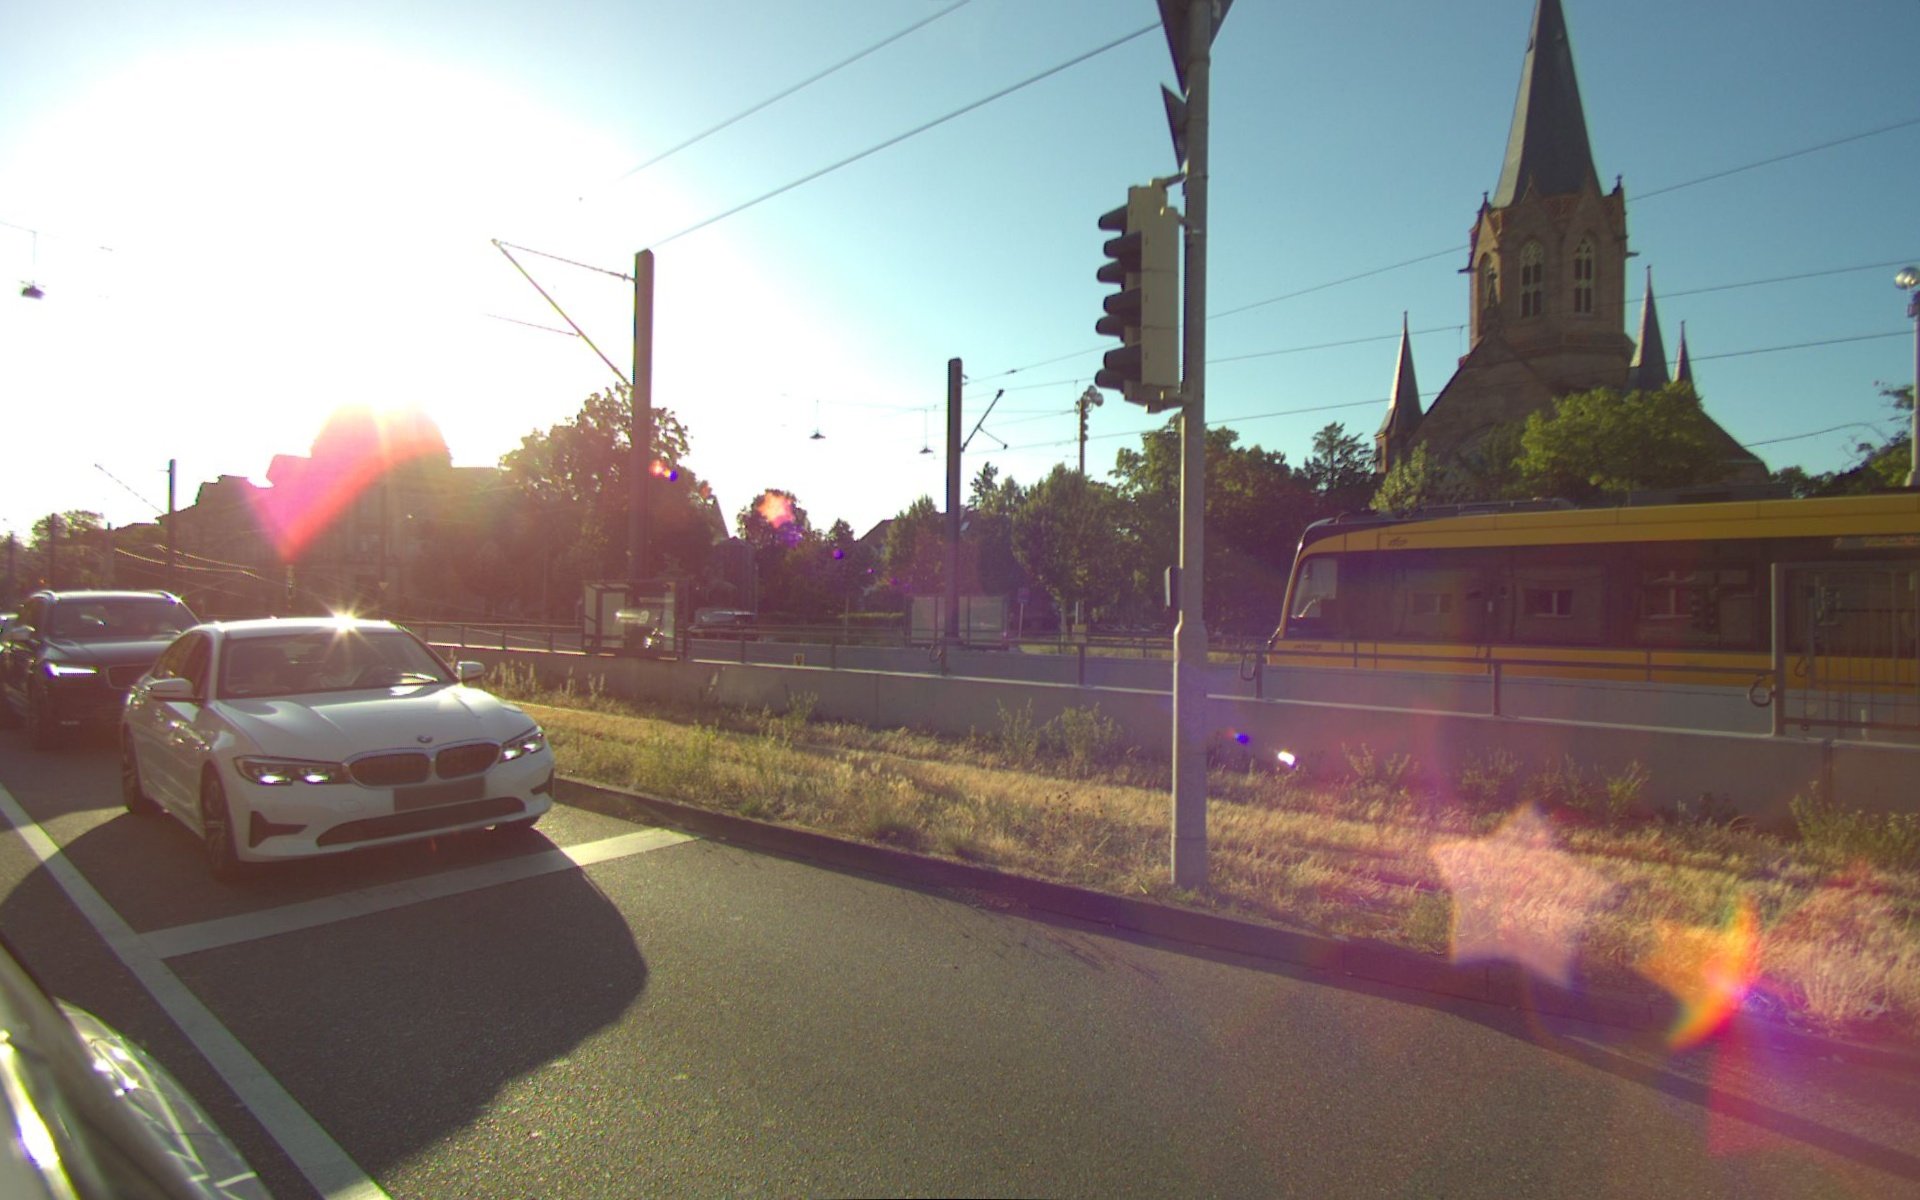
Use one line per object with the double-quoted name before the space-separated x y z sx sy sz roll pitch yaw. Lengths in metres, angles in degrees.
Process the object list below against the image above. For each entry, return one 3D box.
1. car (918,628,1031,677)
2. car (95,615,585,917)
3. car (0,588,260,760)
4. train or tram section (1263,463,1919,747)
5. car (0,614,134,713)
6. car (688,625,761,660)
"car" 0.454 1.739 34.513 3.674 1.552 1.692 -1 -2 43
"car" -4.626 0.846 7.194 4.584 1.411 1.818 -1 1 43
"car" -10.576 0.763 12.562 4.848 1.725 1.931 -1 1 41
"train or tram section" 11.379 0.104 15.193 13.249 3.563 2.743 -1 -2 42
"car" -15.223 0.969 16.780 3.918 1.411 1.791 -1 1 42
"car" -12.345 2.193 52.929 4.090 1.708 1.692 -1 -2 43
